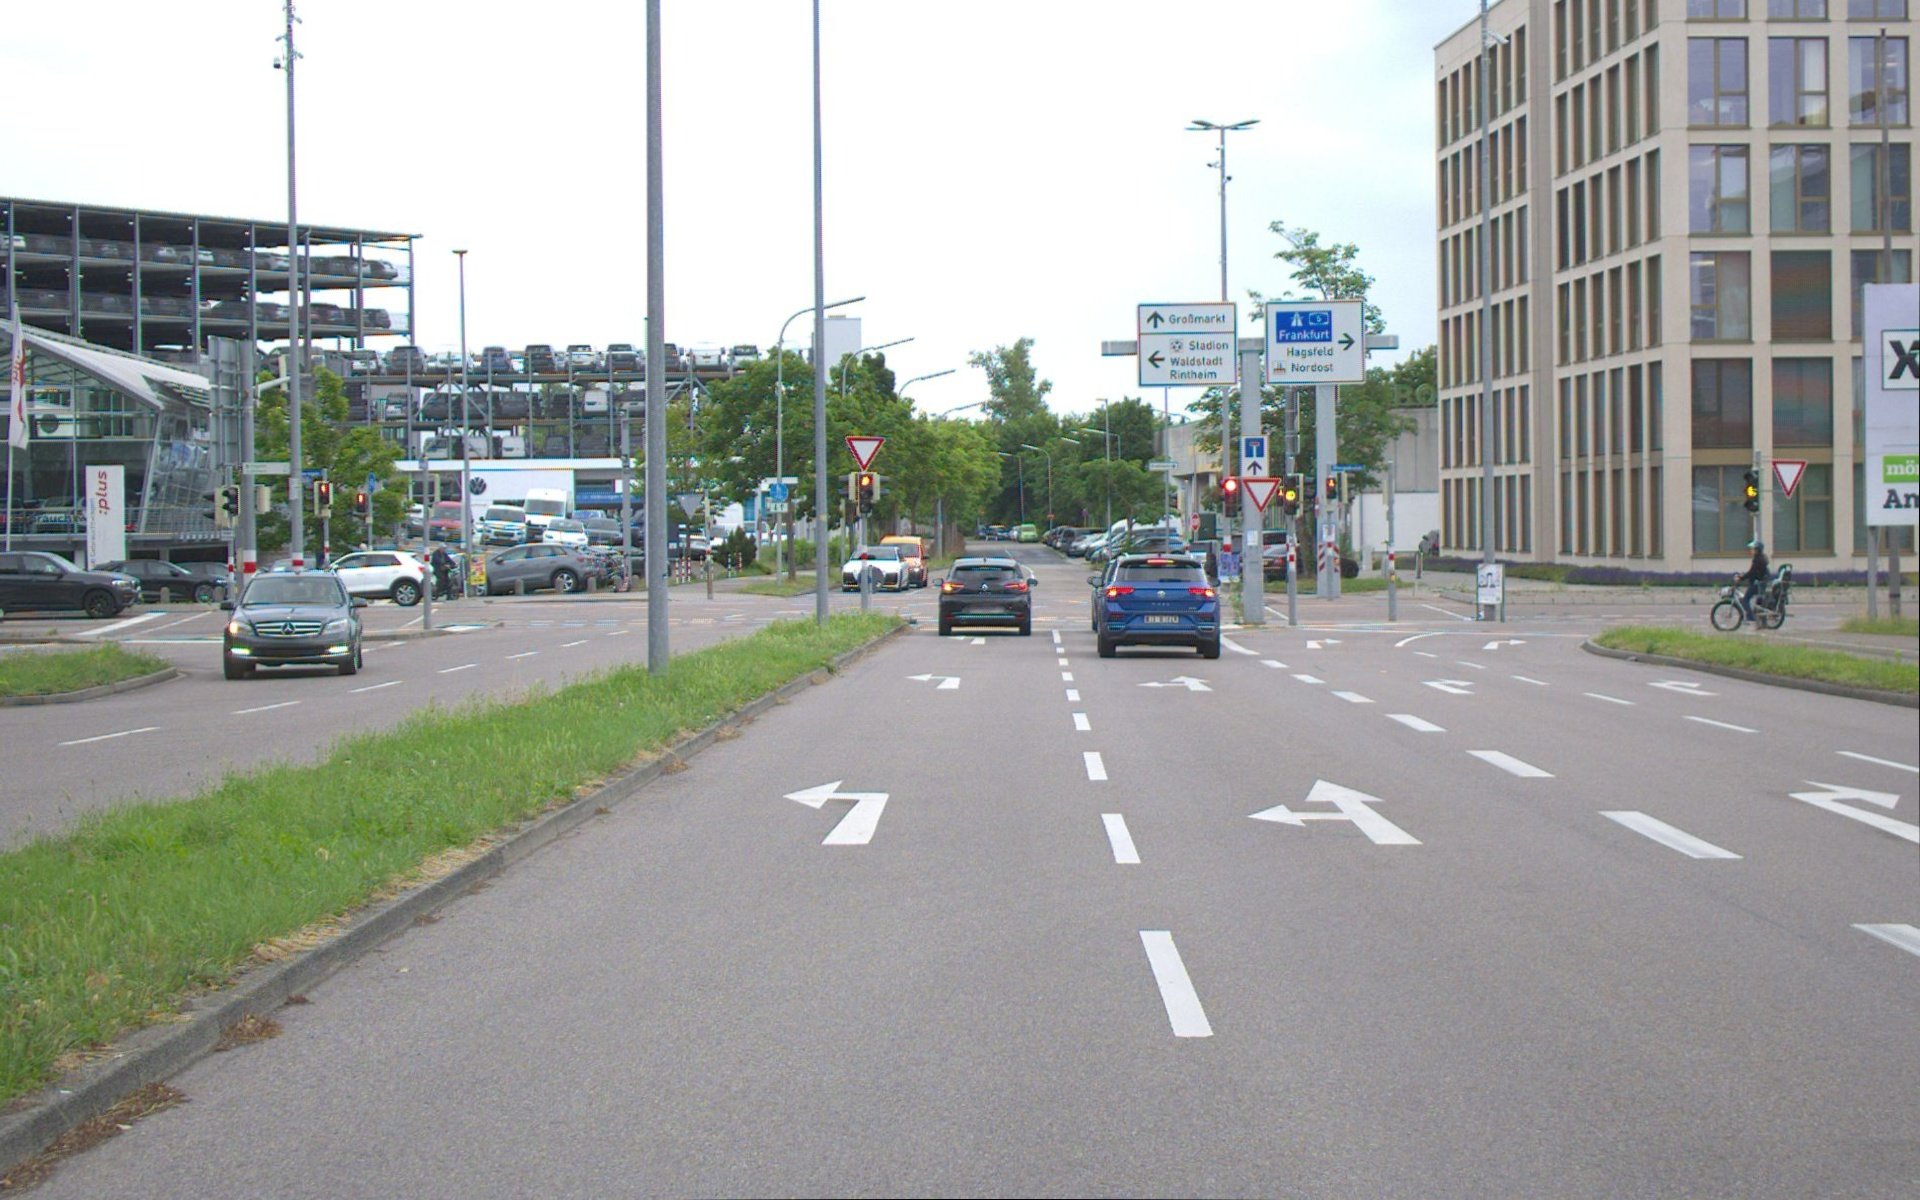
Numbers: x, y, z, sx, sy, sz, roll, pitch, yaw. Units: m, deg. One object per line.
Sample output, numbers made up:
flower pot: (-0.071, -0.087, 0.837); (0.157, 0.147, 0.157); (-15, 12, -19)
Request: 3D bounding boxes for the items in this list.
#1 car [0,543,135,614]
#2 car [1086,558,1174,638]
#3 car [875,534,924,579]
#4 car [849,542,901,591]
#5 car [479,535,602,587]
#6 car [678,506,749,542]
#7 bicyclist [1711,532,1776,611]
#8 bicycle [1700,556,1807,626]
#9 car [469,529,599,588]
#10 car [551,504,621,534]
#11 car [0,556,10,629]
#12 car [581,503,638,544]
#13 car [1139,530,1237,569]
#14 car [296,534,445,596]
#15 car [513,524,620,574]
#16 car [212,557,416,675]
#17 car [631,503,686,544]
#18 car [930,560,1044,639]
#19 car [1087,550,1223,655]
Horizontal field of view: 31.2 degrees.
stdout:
car: (-22.687, -0.530, 84.882); (4.401, 1.638, 2.001); (-1, 3, -11)
car: (3.256, -0.055, 66.351); (1.524, 1.427, 3.390); (0, 2, 0)
car: (-2.113, -1.534, 120.733); (1.600, 1.448, 3.324); (0, 3, 1)
car: (-2.772, -1.107, 112.605); (1.600, 1.448, 3.324); (0, 3, 1)
car: (-13.532, -1.281, 111.035); (3.822, 1.584, 1.683); (-1, 3, -4)
car: (-11.643, -3.614, 162.800); (3.295, 1.635, 1.480); (0, 3, -2)
bicyclist: (14.992, -0.555, 65.771); (0.700, 1.498, 1.000); (-1, 2, -36)
bicycle: (15.129, -0.179, 65.599); (0.700, 1.291, 2.011); (-1, 2, -36)
car: (-13.460, -1.318, 108.851); (3.986, 1.784, 1.848); (-1, 3, -4)
car: (-19.964, -4.353, 183.568); (3.662, 1.523, 1.615); (-1, 3, -6)
car: (-24.035, -0.171, 78.139); (4.415, 1.654, 2.000); (0, 1, -6)
car: (-15.565, -3.398, 152.726); (1.776, 1.700, 3.916); (0, 3, 5)
car: (9.263, -2.052, 139.463); (3.607, 1.473, 1.758); (1, 3, 21)
car: (-16.007, -0.959, 93.526); (3.941, 1.562, 1.760); (-1, 3, -8)
car: (-13.667, -1.770, 119.445); (3.604, 1.662, 1.549); (-1, 3, -4)
car: (-8.977, 0.181, 48.103); (1.791, 1.474, 4.531); (-2, 1, 2)
car: (-13.374, -3.411, 152.736); (1.776, 1.700, 3.916); (0, 3, 5)
car: (0.476, -0.009, 64.457); (1.987, 1.423, 4.241); (0, 0, -2)
car: (2.909, 0.035, 52.013); (1.835, 1.509, 4.000); (0, 0, 0)
